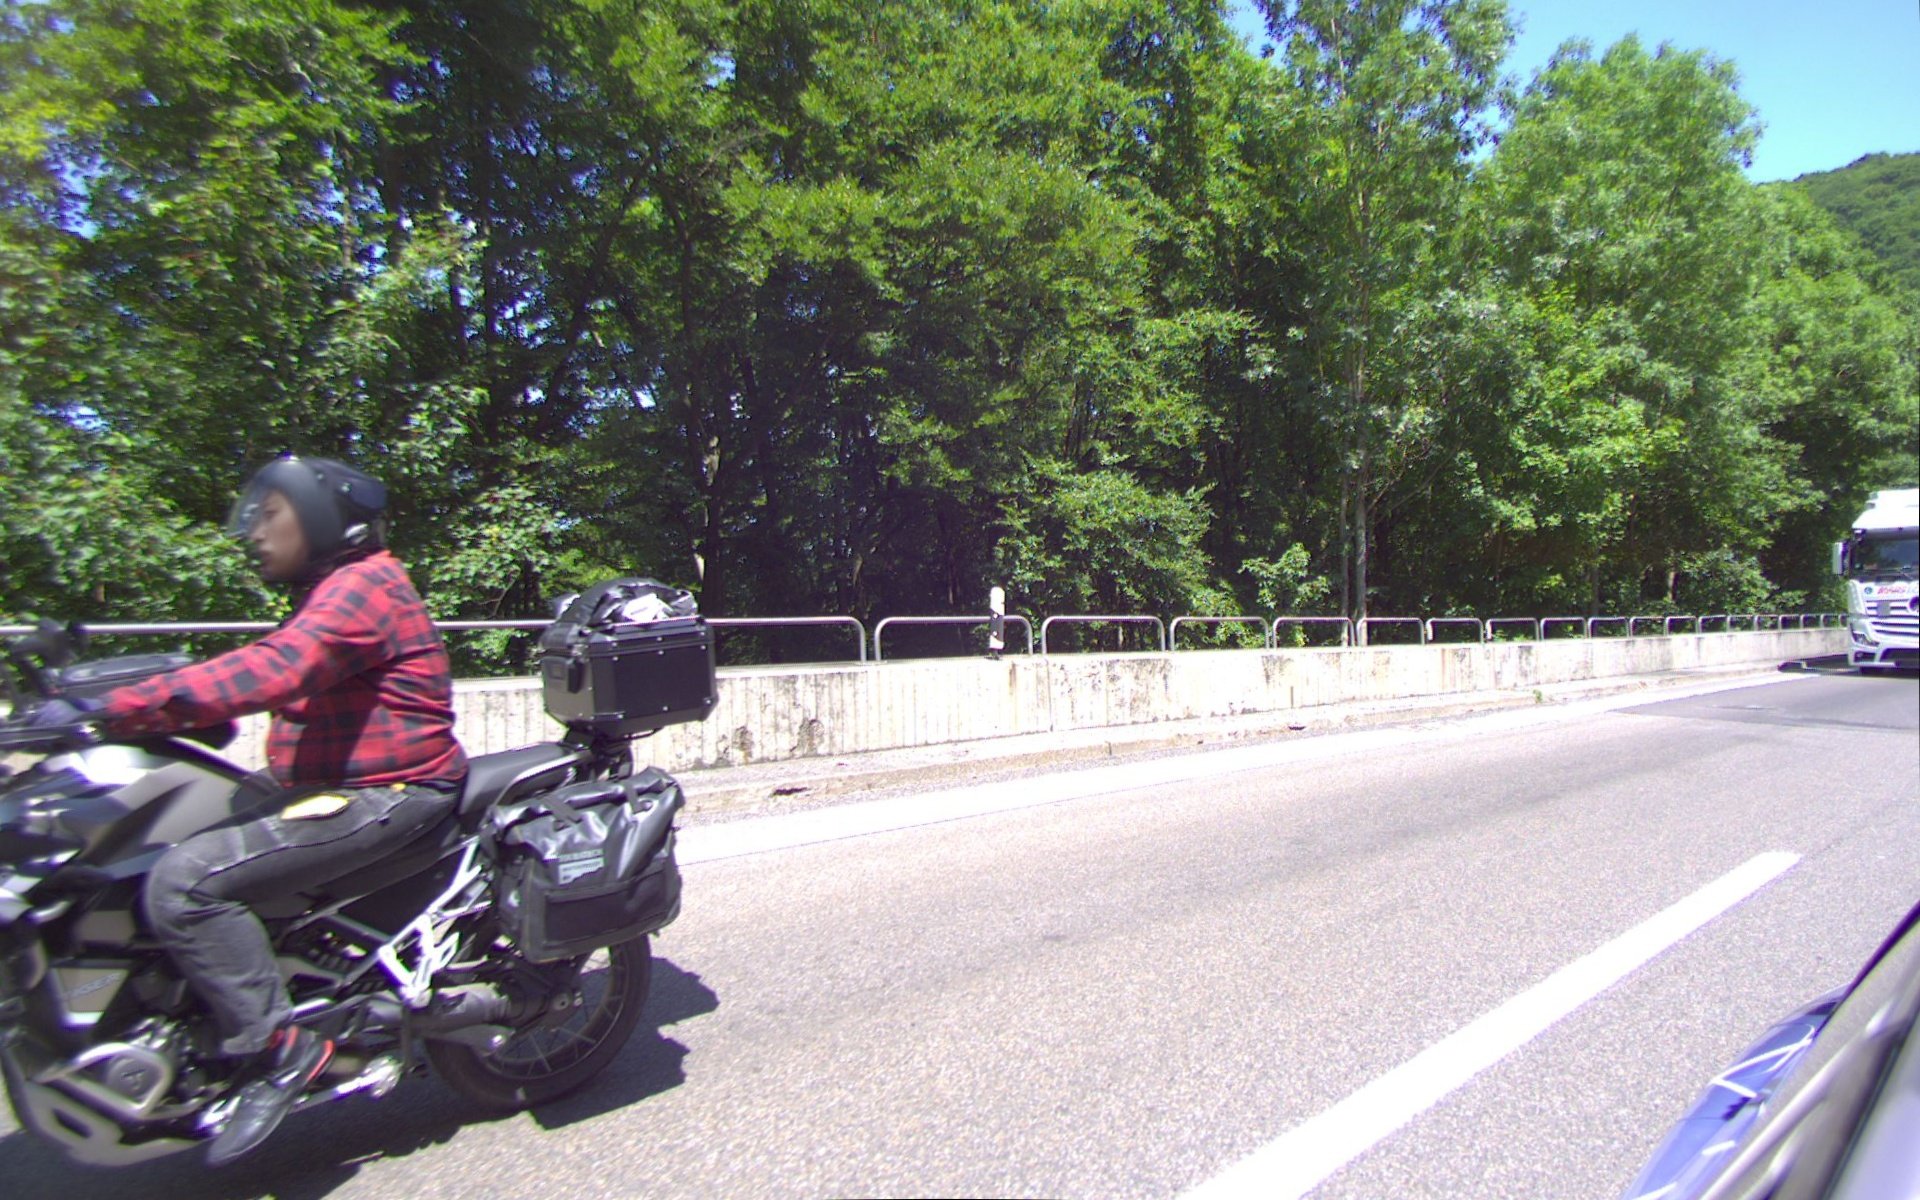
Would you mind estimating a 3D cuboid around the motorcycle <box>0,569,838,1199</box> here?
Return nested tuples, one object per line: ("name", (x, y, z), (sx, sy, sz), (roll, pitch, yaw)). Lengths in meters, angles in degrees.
("motorcycle", (-1.672, 0.662, 2.508), (2.634, 1.437, 0.974), (0, 0, -41))

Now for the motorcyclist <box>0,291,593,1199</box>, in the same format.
("motorcyclist", (-1.735, 0.369, 2.430), (1.315, 1.823, 1.062), (0, -1, -41))

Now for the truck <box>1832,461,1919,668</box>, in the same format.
("truck", (25.973, -0.760, 25.281), (16.399, 4.183, 2.970), (0, 2, -37))
